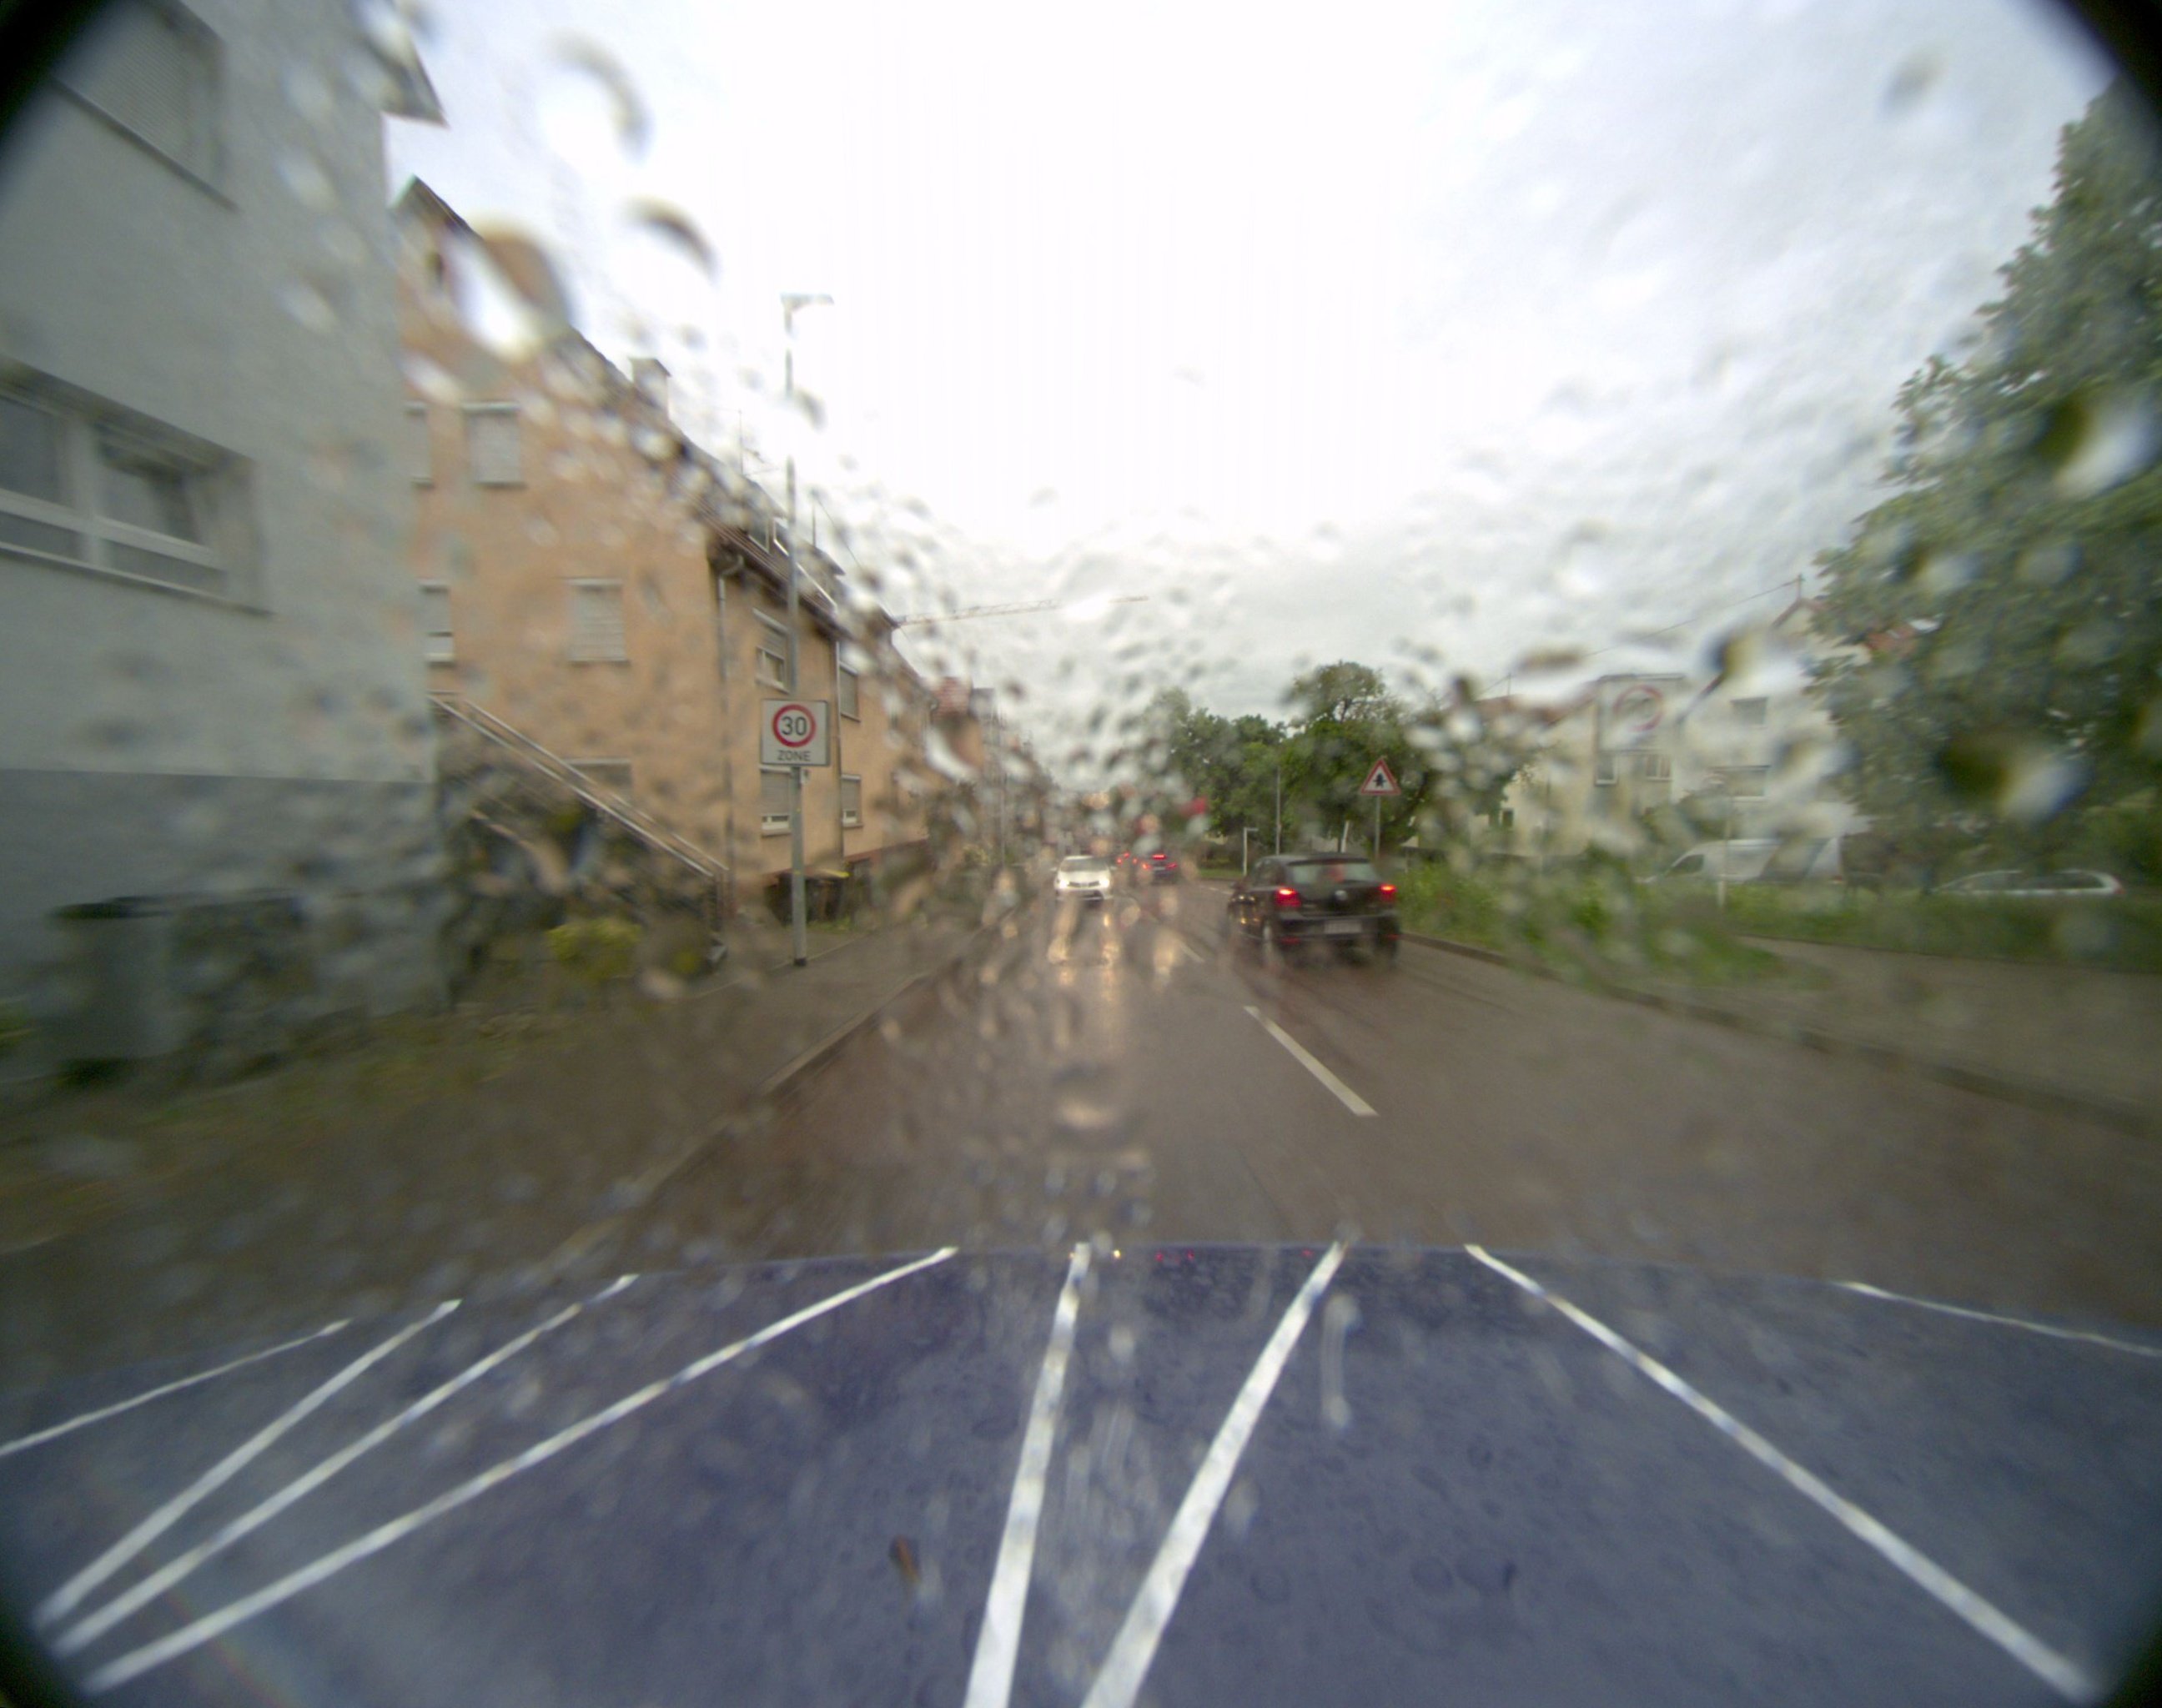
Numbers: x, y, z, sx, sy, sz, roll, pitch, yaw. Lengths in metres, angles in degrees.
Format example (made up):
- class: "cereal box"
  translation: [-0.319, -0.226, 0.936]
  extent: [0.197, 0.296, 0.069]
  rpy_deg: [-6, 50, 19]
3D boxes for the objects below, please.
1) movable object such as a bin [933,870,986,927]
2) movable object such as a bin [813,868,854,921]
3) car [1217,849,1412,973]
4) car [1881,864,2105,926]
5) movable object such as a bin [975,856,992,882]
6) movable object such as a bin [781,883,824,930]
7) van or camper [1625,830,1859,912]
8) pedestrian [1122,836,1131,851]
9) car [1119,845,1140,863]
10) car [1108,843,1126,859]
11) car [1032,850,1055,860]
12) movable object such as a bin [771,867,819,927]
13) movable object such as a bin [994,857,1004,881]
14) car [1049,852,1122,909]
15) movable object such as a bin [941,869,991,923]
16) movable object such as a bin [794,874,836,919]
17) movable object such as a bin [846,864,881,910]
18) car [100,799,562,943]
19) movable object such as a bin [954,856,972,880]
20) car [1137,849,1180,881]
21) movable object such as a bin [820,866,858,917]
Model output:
- class: "movable object such as a bin"
  translation: [-2.483, 0.897, 15.573]
  extent: [0.916, 1.097, 0.702]
  rpy_deg: [-1, 1, 3]
- class: "movable object such as a bin"
  translation: [-5.372, 0.870, 16.513]
  extent: [0.662, 1.087, 0.545]
  rpy_deg: [3, 1, -2]
- class: "car"
  translation: [3.157, 0.674, 11.036]
  extent: [1.622, 1.433, 3.736]
  rpy_deg: [-1, 1, -1]
- class: "car"
  translation: [26.367, 1.113, 22.119]
  extent: [1.563, 1.539, 4.028]
  rpy_deg: [-2, 1, -35]
- class: "movable object such as a bin"
  translation: [-4.254, 0.638, 33.190]
  extent: [0.611, 1.071, 0.792]
  rpy_deg: [2, 1, -2]
- class: "movable object such as a bin"
  translation: [-5.522, 1.034, 15.088]
  extent: [0.639, 0.890, 0.536]
  rpy_deg: [-1, 1, 0]
- class: "van or camper"
  translation: [23.165, 0.537, 27.024]
  extent: [1.643, 2.542, 6.050]
  rpy_deg: [-4, 2, -30]
- class: "pedestrian"
  translation: [5.630, -1.266, 93.657]
  extent: [0.971, 1.820, 0.894]
  rpy_deg: [-2, 1, -8]
- class: "car"
  translation: [4.103, -0.031, 64.484]
  extent: [1.564, 1.446, 4.084]
  rpy_deg: [-1, 1, 0]
- class: "car"
  translation: [3.824, -0.353, 81.301]
  extent: [1.755, 1.679, 4.375]
  rpy_deg: [-1, 1, 0]
- class: "car"
  translation: [-5.397, 0.141, 108.692]
  extent: [1.773, 1.432, 4.055]
  rpy_deg: [-2, 1, -25]
- class: "movable object such as a bin"
  translation: [-5.421, 0.809, 14.441]
  extent: [0.662, 1.087, 0.545]
  rpy_deg: [3, 1, -2]
- class: "movable object such as a bin"
  translation: [-3.556, 0.652, 32.986]
  extent: [0.380, 1.012, 0.487]
  rpy_deg: [-1, 1, 1]
- class: "car"
  translation: [0.048, 0.741, 23.377]
  extent: [1.860, 1.427, 4.014]
  rpy_deg: [-2, 2, -5]
- class: "movable object such as a bin"
  translation: [-2.459, 0.899, 16.321]
  extent: [0.916, 1.097, 0.702]
  rpy_deg: [-1, 1, 3]
- class: "movable object such as a bin"
  translation: [-5.487, 0.870, 15.691]
  extent: [0.671, 0.890, 0.536]
  rpy_deg: [-1, 1, 0]
- class: "movable object such as a bin"
  translation: [-5.467, 0.817, 19.122]
  extent: [0.662, 1.087, 0.655]
  rpy_deg: [2, 1, -2]
- class: "car"
  translation: [-9.617, 0.213, 10.133]
  extent: [4.002, 1.441, 1.781]
  rpy_deg: [5, 2, -12]
- class: "movable object such as a bin"
  translation: [-5.173, 0.611, 33.417]
  extent: [0.611, 0.961, 0.792]
  rpy_deg: [5, 1, -2]
- class: "car"
  translation: [3.665, 0.477, 36.491]
  extent: [1.723, 1.421, 3.844]
  rpy_deg: [-1, 1, 1]
- class: "movable object such as a bin"
  translation: [-5.457, 0.846, 17.168]
  extent: [0.646, 1.087, 0.545]
  rpy_deg: [3, 1, -2]
